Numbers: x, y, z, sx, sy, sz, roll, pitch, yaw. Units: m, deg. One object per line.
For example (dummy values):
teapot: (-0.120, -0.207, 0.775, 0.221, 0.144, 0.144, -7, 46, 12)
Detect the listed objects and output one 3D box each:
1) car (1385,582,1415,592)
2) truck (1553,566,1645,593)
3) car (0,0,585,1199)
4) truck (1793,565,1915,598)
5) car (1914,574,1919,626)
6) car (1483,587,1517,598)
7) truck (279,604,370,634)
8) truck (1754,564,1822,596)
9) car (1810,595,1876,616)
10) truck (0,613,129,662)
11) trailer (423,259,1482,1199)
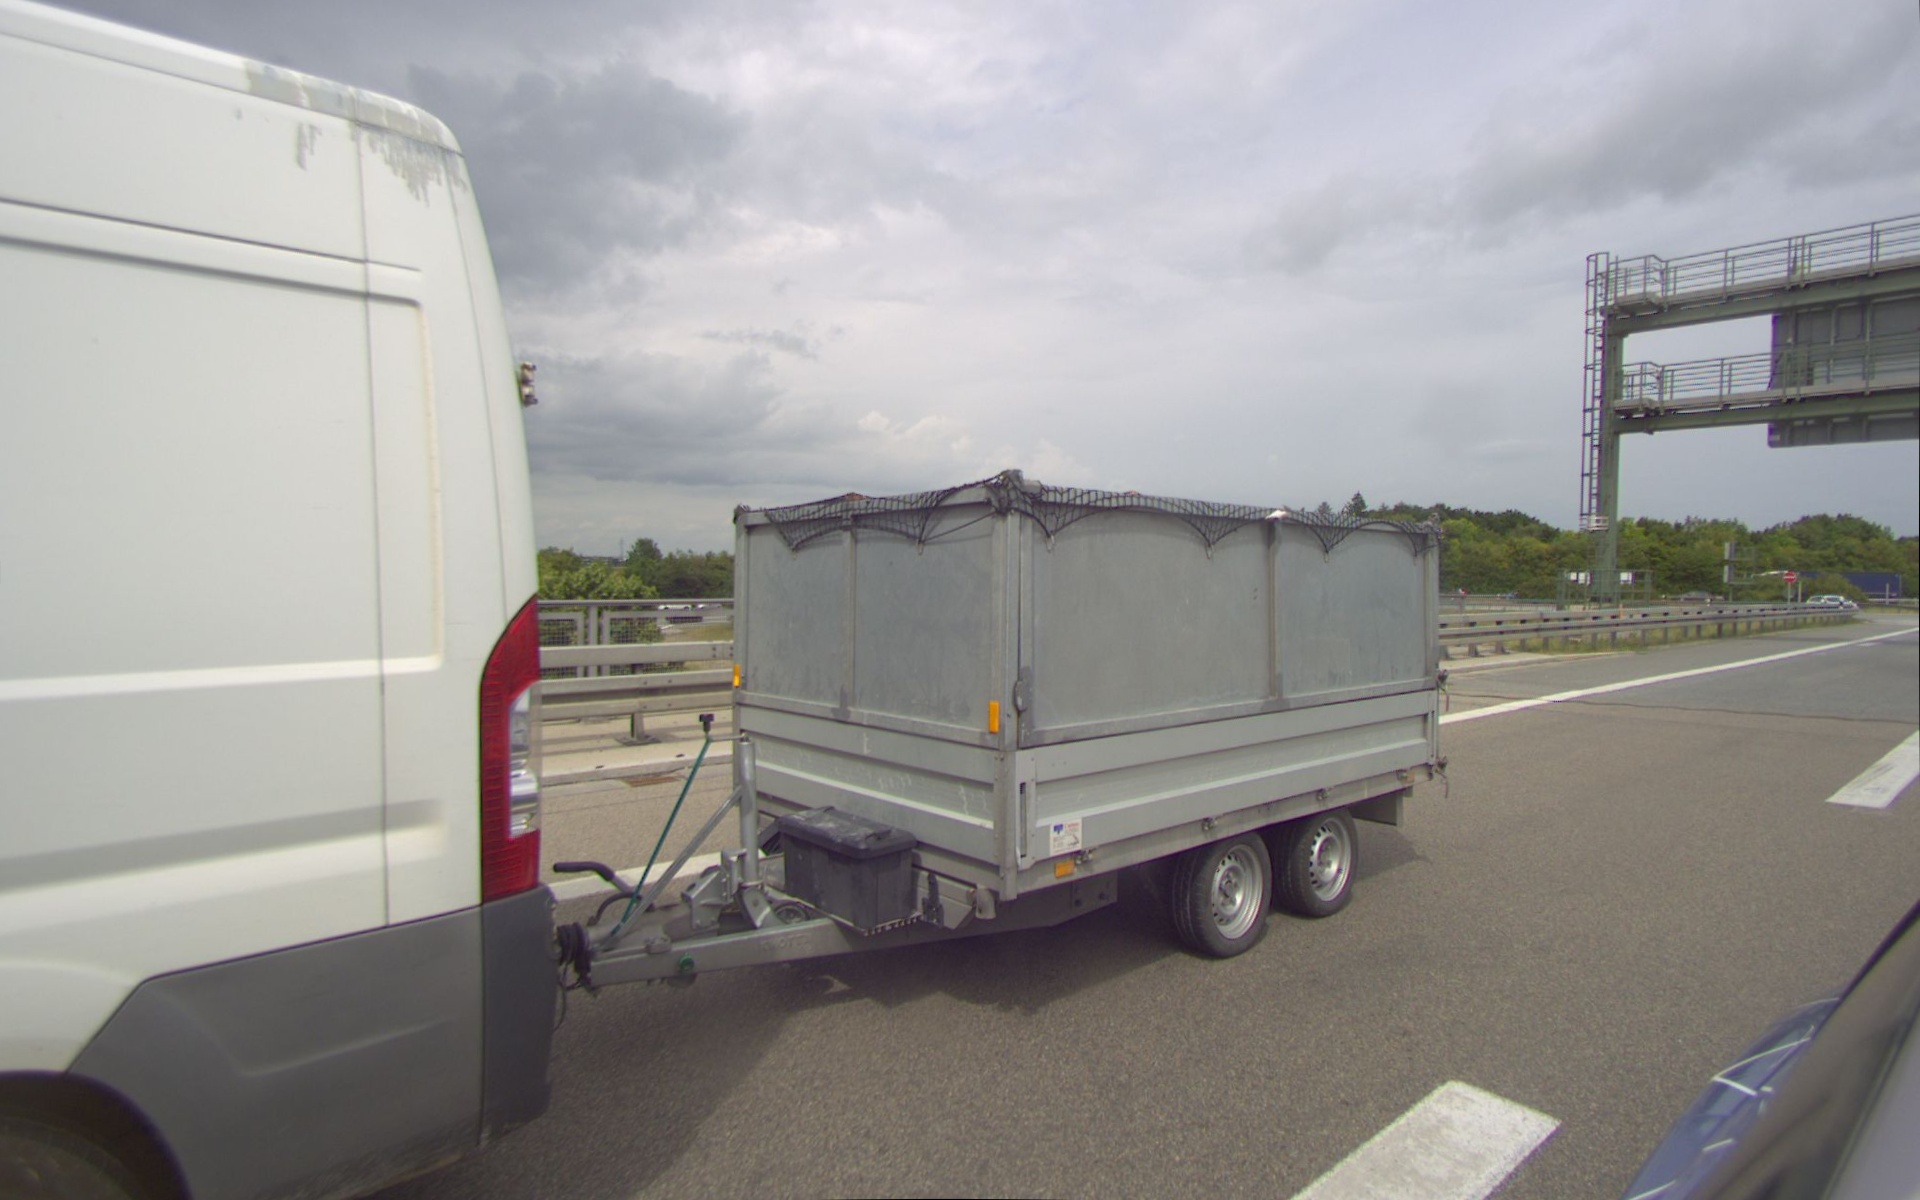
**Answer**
car: (62.644, -1.841, 144.097, 3.959, 1.468, 1.545, 0, 0, 26)
truck: (83.436, -2.682, 132.382, 9.776, 3.446, 2.671, 0, 0, 26)
car: (-3.712, 0.152, 0.851, 6.046, 2.485, 2.117, -1, 0, -42)
truck: (109.602, -2.277, 124.196, 11.586, 3.907, 2.843, 0, 0, 6)
car: (34.898, -0.021, 35.399, 3.931, 1.768, 1.860, -1, 0, -42)
car: (73.430, -1.023, 137.650, 3.964, 1.418, 1.543, 0, 0, 29)
truck: (-77.325, 2.273, 123.409, 8.836, 3.410, 3.348, 0, 0, -18)
truck: (102.226, -2.463, 124.972, 5.825, 3.851, 2.897, 0, 0, 6)
car: (67.196, 0.377, 77.098, 1.698, 1.560, 4.470, 0, 0, 10)
truck: (-103.321, 4.170, 114.426, 14.550, 5.280, 3.868, 0, 0, -10)
trailer: (0.394, 0.256, 4.415, 4.552, 2.039, 1.857, -1, 0, -42)
